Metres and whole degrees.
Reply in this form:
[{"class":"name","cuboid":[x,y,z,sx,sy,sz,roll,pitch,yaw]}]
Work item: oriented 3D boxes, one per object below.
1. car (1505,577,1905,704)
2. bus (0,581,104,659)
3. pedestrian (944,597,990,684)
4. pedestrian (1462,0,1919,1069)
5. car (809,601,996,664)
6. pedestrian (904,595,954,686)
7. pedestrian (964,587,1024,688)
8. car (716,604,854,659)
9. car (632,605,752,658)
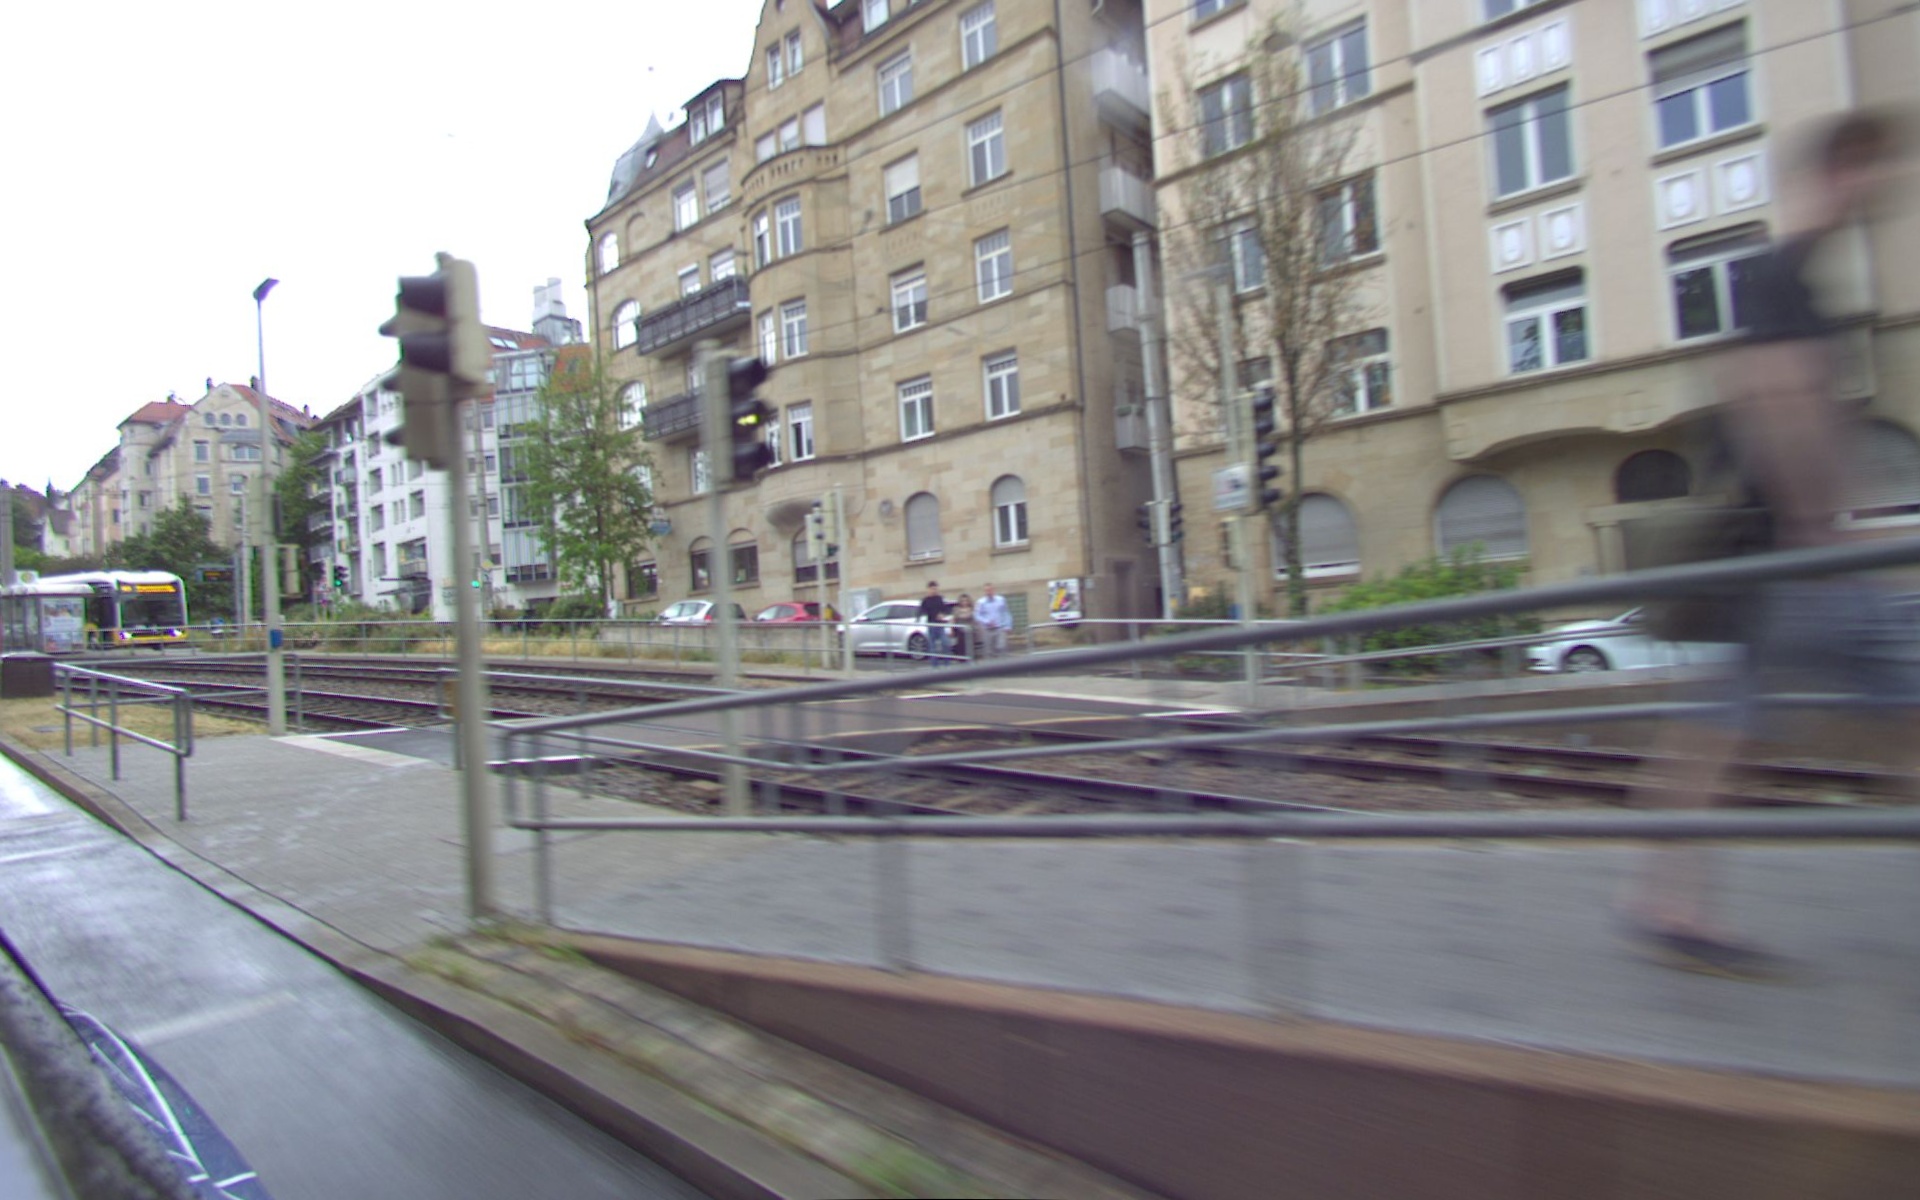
[{"class":"car","cuboid":[10.790,0.495,14.936,4.531,1.544,1.973,0,2,41]},{"class":"bus","cuboid":[-44.830,0.991,49.073,9.080,3.495,2.570,-1,-1,33]},{"class":"pedestrian","cuboid":[0.126,0.727,18.375,0.620,1.543,0.514,-2,-1,42]},{"class":"pedestrian","cuboid":[1.631,-0.140,1.958,0.847,1.797,0.644,-9,-6,41]},{"class":"car","cuboid":[-1.524,0.804,25.492,4.864,1.453,1.700,-2,-1,40]},{"class":"pedestrian","cuboid":[-0.563,0.715,18.249,0.620,1.605,0.618,-2,-1,42]},{"class":"pedestrian","cuboid":[0.591,0.642,17.734,0.728,1.712,0.712,-2,-1,42]},{"class":"car","cuboid":[-5.060,0.894,28.969,4.173,1.453,1.613,-2,-1,41]},{"class":"car","cuboid":[-8.513,0.974,31.956,4.173,1.559,1.613,-2,-1,41]}]
